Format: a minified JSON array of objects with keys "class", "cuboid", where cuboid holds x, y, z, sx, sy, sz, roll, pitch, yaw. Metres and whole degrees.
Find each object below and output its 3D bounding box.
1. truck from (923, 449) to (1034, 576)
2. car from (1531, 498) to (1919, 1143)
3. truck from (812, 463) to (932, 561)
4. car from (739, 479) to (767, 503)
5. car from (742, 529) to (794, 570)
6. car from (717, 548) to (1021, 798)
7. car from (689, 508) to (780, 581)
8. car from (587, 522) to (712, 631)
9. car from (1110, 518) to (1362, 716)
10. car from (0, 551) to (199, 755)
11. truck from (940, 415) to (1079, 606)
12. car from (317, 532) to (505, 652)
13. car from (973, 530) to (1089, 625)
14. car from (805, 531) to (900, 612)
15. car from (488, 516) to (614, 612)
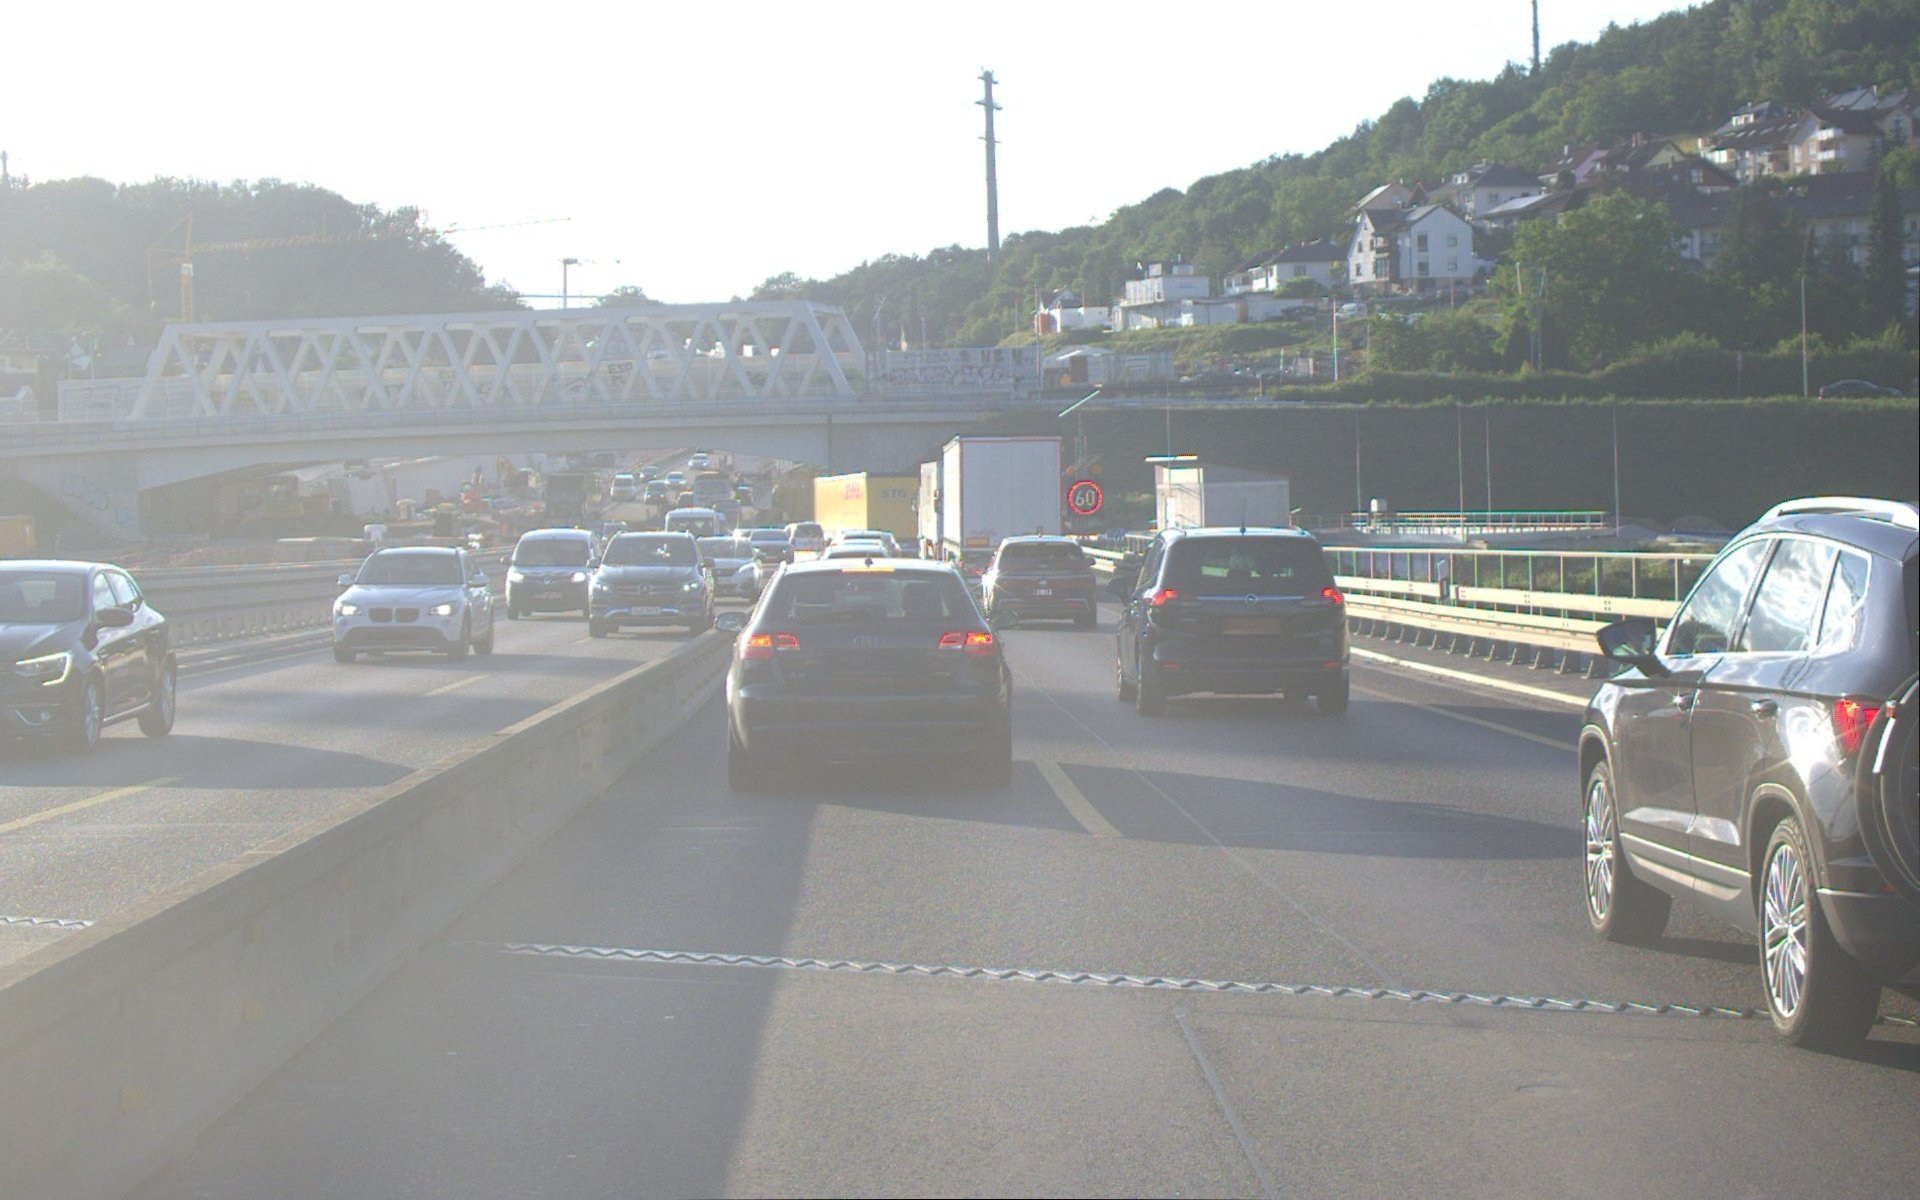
[{"class":"truck","cuboid":[0.578,-3.457,130.673,3.890,4.482,15.270,0,3,-1]},{"class":"car","cuboid":[3.231,0.479,10.798,1.875,1.594,4.966,-1,1,-2]},{"class":"truck","cuboid":[-4.413,-4.391,168.225,3.889,4.482,13.853,0,3,-10]},{"class":"car","cuboid":[-13.888,-7.325,230.708,1.792,1.534,4.368,-1,2,-4]},{"class":"car","cuboid":[-7.715,-2.046,137.914,1.993,1.524,5.783,-1,2,-4]},{"class":"car","cuboid":[-0.616,0.397,22.072,1.770,1.385,4.001,0,2,-3]},{"class":"car","cuboid":[-5.360,-1.340,82.132,1.838,1.634,4.000,-2,2,0]},{"class":"car","cuboid":[-5.197,-0.438,58.077,1.929,1.748,4.674,0,1,-3]},{"class":"car","cuboid":[2.415,0.091,31.121,1.814,1.626,4.412,0,2,-1]},{"class":"car","cuboid":[-7.262,0.351,26.712,1.775,1.400,4.309,0,1,-1]},{"class":"truck","cuboid":[1.205,-2.589,91.029,3.385,4.482,15.270,0,4,0]},{"class":"car","cuboid":[-7.462,-0.144,47.064,1.929,1.541,4.289,0,1,-1]},{"class":"car","cuboid":[1.206,-0.420,60.213,1.770,1.547,4.001,0,2,-3]},{"class":"car","cuboid":[-2.130,-0.586,67.170,1.765,1.481,4.001,0,2,-3]},{"class":"car","cuboid":[-8.359,-0.764,70.558,1.993,1.850,4.282,2,1,0]}]
